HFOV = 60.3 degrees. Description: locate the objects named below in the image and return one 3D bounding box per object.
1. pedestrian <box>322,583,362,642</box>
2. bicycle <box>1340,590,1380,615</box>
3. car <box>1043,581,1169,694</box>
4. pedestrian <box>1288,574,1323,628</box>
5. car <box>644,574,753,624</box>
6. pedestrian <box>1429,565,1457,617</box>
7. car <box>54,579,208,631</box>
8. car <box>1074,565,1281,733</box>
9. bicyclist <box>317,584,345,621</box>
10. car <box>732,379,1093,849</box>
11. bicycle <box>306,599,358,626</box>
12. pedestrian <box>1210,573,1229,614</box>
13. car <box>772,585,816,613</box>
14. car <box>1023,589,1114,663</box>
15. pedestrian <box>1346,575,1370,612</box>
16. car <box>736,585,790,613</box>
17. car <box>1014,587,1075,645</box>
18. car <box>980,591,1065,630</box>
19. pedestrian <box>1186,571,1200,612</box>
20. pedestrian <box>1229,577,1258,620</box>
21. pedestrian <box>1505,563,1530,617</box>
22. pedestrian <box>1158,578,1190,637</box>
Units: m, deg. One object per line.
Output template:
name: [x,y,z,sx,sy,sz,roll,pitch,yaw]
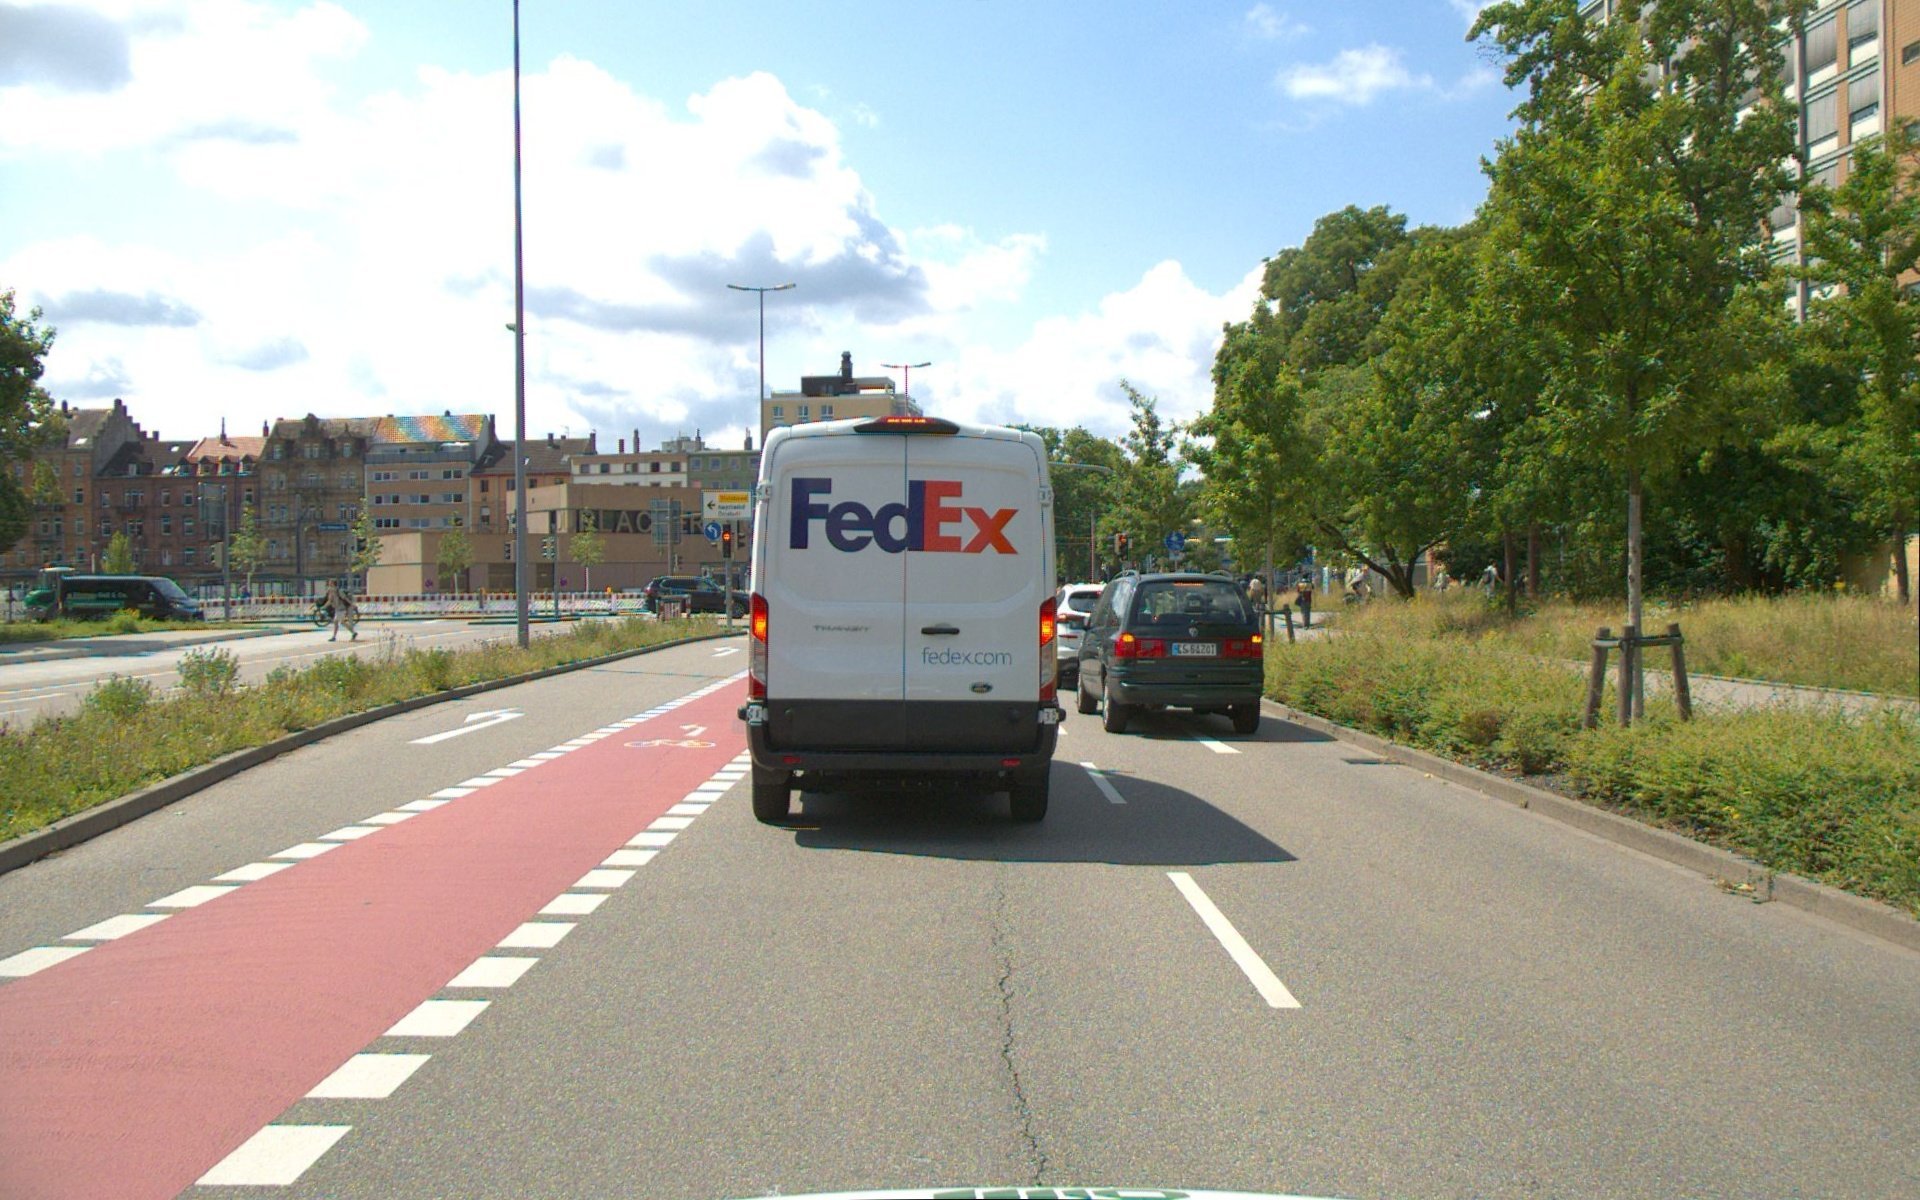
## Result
pedestrian: [-17.055,0.342,45.642,0.546,1.587,0.869,0,1,45]
bicycle: [16.089,0.091,66.528,1.537,0.972,0.486,0,0,18]
car: [2.345,0.559,27.418,1.761,1.717,4.000,0,1,1]
pedestrian: [10.244,0.019,49.040,0.828,1.565,0.835,-1,0,-2]
car: [-11.307,-0.048,71.327,4.546,2.049,2.094,-1,0,-12]
pedestrian: [19.608,-0.369,67.137,0.727,2.094,0.843,-1,0,-18]
car: [-32.000,0.165,63.977,4.910,1.911,1.927,-1,1,-5]
car: [2.452,0.496,19.640,1.775,1.764,4.387,0,1,-1]
bicyclist: [-25.625,0.085,67.401,0.950,1.500,0.550,-1,0,-9]
car: [-0.522,0.066,12.438,2.099,2.699,5.698,0,0,-5]
bicycle: [-25.595,0.500,67.428,1.884,1.048,0.547,-1,0,-9]
pedestrian: [12.248,-0.314,78.090,0.667,1.925,0.572,0,0,43]
car: [-10.278,-0.066,102.768,1.839,1.680,4.003,-1,0,7]
car: [2.323,0.524,36.145,1.761,1.486,3.838,0,1,1]
pedestrian: [16.024,-0.267,66.551,0.880,1.497,0.486,0,0,18]
car: [-11.463,-0.056,96.551,1.860,1.613,4.003,-1,0,13]
car: [2.173,0.390,43.283,1.454,1.453,3.433,0,1,1]
car: [3.065,0.515,80.810,1.962,1.825,4.351,-1,0,38]
pedestrian: [10.954,-0.410,77.707,0.562,1.925,0.679,0,0,-2]
pedestrian: [9.599,-0.055,55.947,0.828,1.413,0.740,-1,0,-2]
pedestrian: [22.069,-0.401,65.475,0.828,2.094,0.740,0,0,27]
pedestrian: [7.077,0.245,54.798,0.931,1.925,0.773,0,0,-2]
